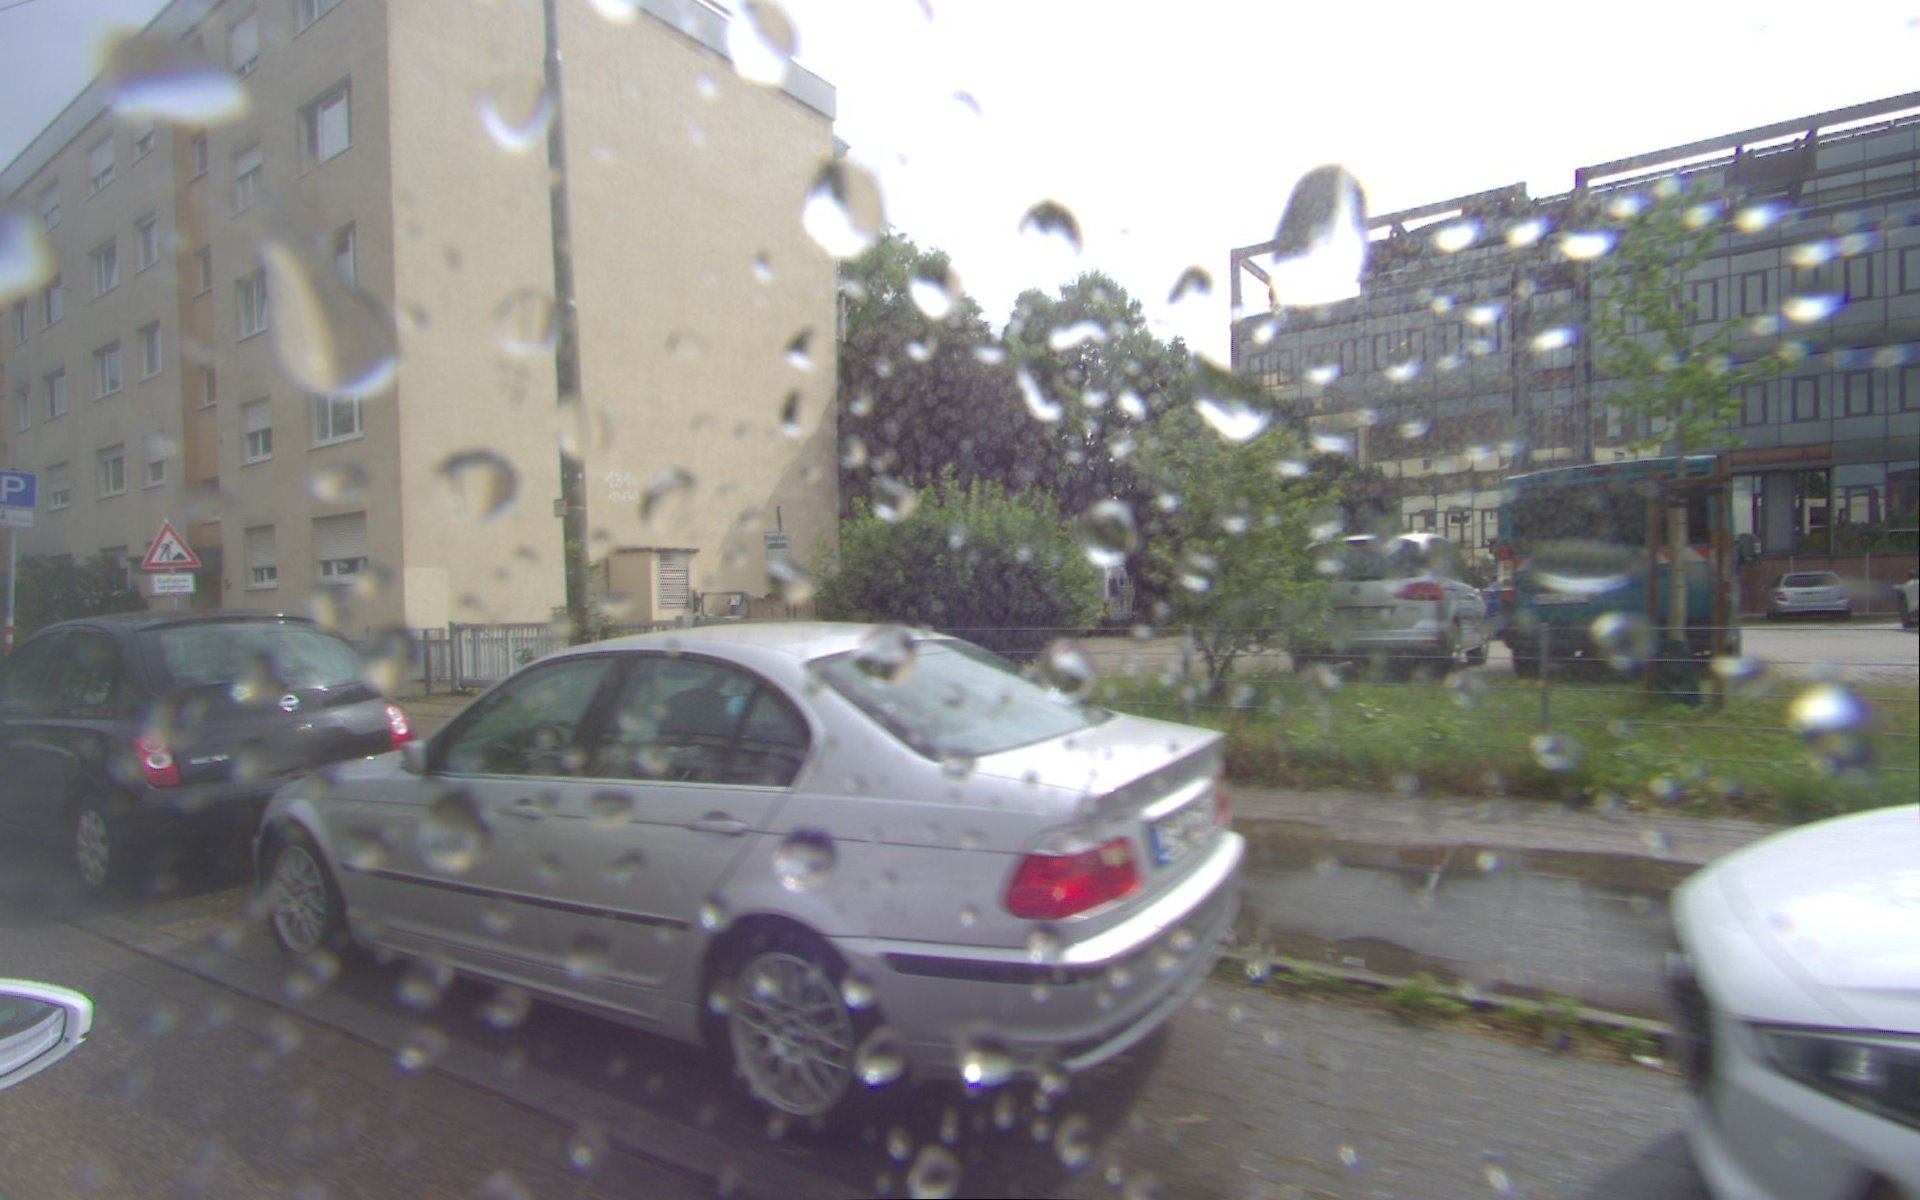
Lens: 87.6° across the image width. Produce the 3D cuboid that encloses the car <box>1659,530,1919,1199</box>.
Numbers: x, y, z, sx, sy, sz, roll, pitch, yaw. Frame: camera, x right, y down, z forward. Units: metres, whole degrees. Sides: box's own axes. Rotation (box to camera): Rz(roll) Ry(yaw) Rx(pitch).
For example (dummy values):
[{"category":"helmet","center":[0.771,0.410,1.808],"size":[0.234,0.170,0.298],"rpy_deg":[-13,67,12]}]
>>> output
[{"category":"car","center":[3.393,0.623,1.204],"size":[4.053,1.528,1.745],"rpy_deg":[-1,0,32]}]

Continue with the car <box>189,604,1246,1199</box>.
[{"category":"car","center":[-1.166,0.800,4.065],"size":[4.197,1.471,1.714],"rpy_deg":[-1,-1,31]}]

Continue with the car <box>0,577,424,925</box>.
[{"category":"car","center":[-5.446,0.762,6.564],"size":[3.973,1.683,1.602],"rpy_deg":[0,-1,31]}]

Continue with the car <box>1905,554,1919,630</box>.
[{"category":"car","center":[19.318,-0.171,18.932],"size":[1.651,1.485,3.959],"rpy_deg":[-1,1,37]}]

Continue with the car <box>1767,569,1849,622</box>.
[{"category":"car","center":[24.371,-0.122,28.882],"size":[1.556,1.428,3.831],"rpy_deg":[-1,0,37]}]

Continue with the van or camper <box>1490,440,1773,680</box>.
[{"category":"van or camper","center":[7.892,-0.358,11.588],"size":[2.293,2.160,4.739],"rpy_deg":[0,0,39]}]

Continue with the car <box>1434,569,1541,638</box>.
[{"category":"car","center":[12.553,0.058,23.729],"size":[1.619,1.506,3.651],"rpy_deg":[-1,1,38]}]
